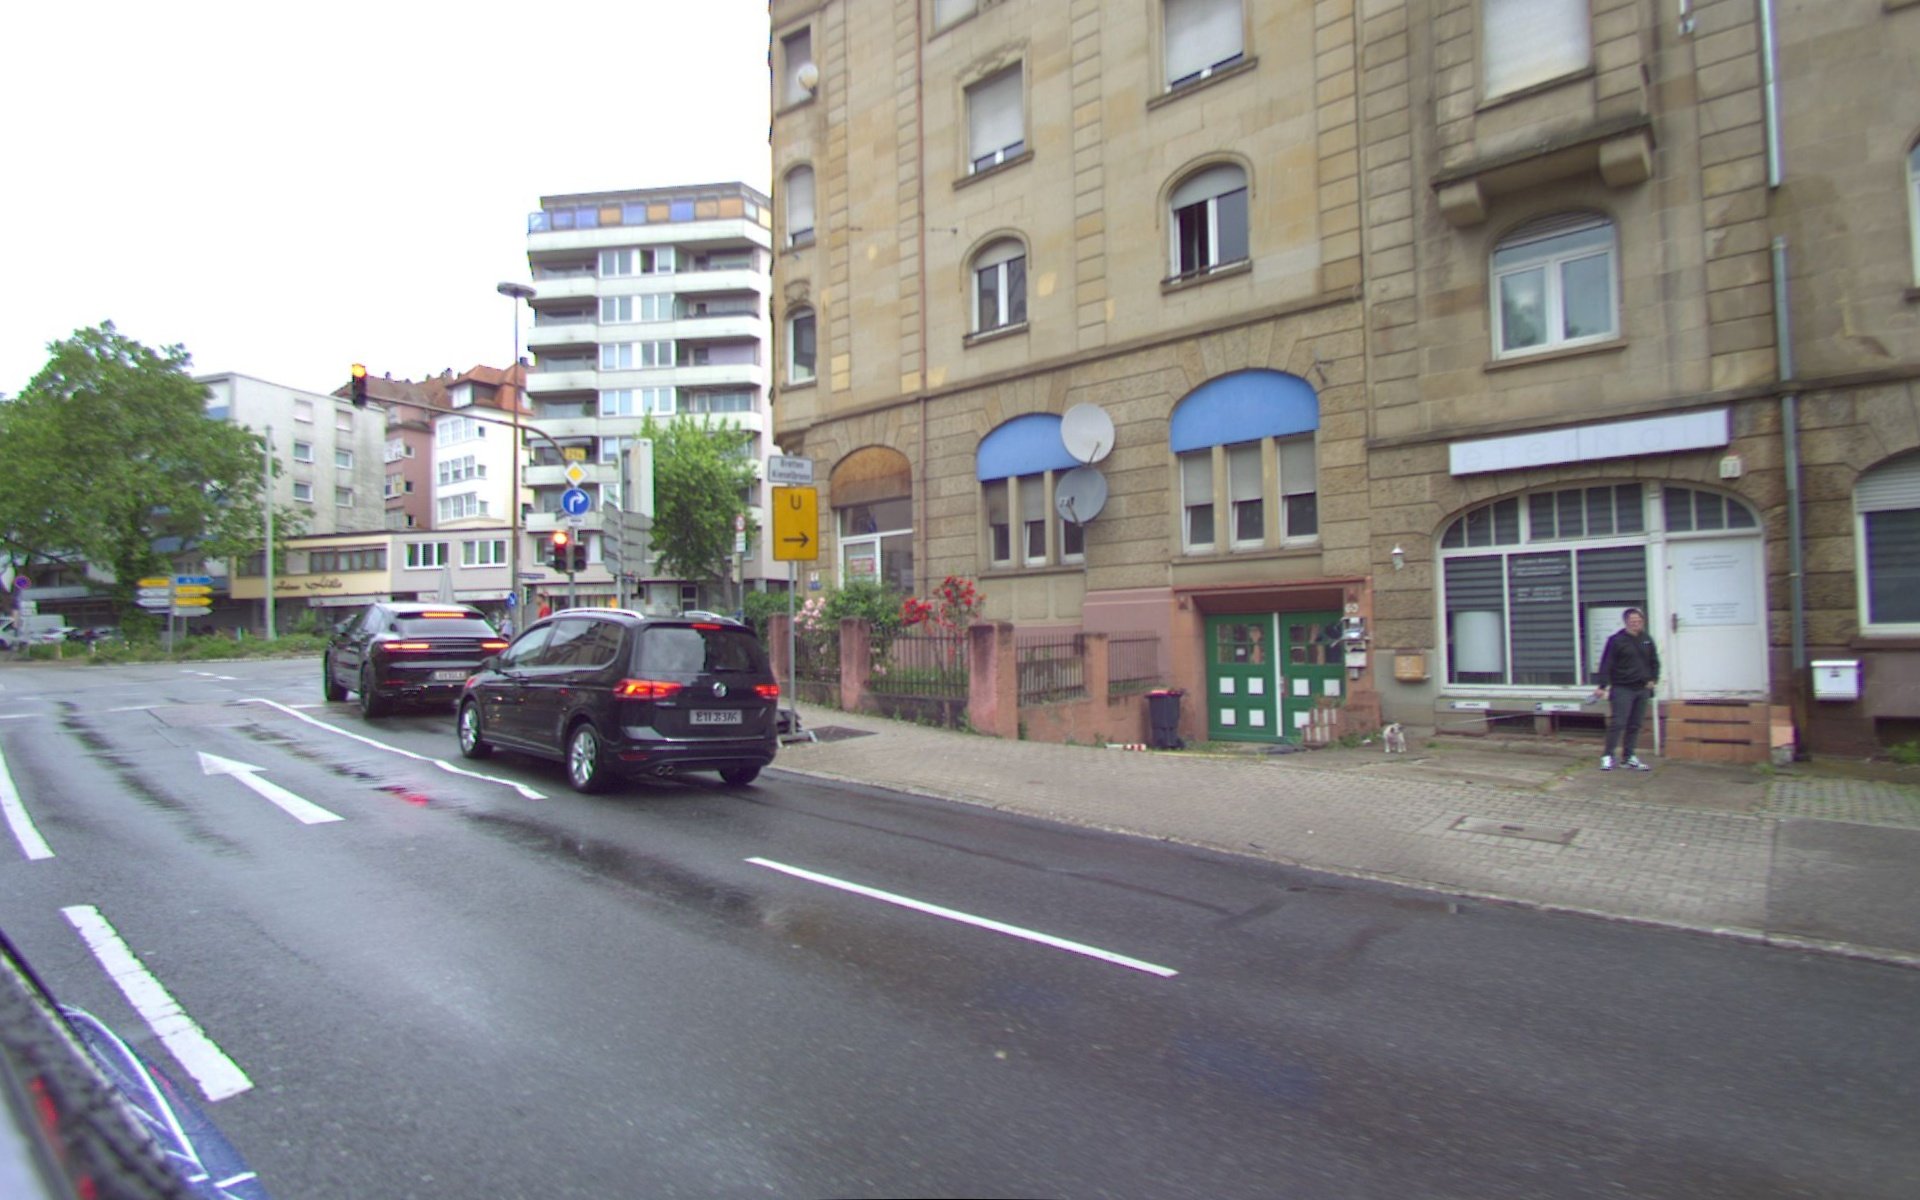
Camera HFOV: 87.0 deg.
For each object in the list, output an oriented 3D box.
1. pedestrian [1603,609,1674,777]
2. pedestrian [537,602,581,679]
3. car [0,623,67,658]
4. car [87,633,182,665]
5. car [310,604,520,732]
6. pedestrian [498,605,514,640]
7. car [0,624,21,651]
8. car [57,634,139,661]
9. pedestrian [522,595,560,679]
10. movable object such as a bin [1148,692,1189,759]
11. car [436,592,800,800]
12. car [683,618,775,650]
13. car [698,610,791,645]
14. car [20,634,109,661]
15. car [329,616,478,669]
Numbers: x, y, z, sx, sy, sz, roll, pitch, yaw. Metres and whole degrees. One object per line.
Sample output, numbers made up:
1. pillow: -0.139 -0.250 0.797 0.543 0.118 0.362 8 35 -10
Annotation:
1. pedestrian: 7.483 0.995 11.161 0.565 1.790 0.472 -1 -1 43
2. pedestrian: -9.278 0.927 23.436 0.829 1.715 0.629 -2 -1 43
3. car: -57.328 2.432 61.155 1.861 1.992 4.958 0 0 12
4. car: -47.384 2.770 58.206 1.915 1.655 4.213 0 0 2
5. car: -8.807 0.936 16.128 1.940 1.706 4.815 1 -1 -41
6. pedestrian: -22.483 1.094 50.105 0.609 1.706 0.627 -1 -1 -14
7. car: -61.859 2.381 63.592 1.788 1.702 3.820 0 -1 13
8. car: -50.071 2.759 58.876 1.609 1.426 3.620 0 0 2
9. pedestrian: -9.041 0.787 21.809 0.516 1.787 0.694 -1 -1 -43
10. movable object such as a bin: 3.230 1.935 15.663 0.469 0.957 0.418 0 -1 -44
11. car: -3.626 0.863 10.244 4.421 1.662 1.602 -2 -5 45
12. car: -12.021 1.729 52.681 4.317 1.503 1.920 -1 -1 -28
13. car: -10.254 1.298 48.099 3.954 1.503 1.772 -1 -2 -28
14. car: -52.485 2.761 59.394 1.790 1.426 3.698 0 0 6
15. car: -18.299 1.357 33.324 4.144 1.546 1.762 -1 -1 -33
